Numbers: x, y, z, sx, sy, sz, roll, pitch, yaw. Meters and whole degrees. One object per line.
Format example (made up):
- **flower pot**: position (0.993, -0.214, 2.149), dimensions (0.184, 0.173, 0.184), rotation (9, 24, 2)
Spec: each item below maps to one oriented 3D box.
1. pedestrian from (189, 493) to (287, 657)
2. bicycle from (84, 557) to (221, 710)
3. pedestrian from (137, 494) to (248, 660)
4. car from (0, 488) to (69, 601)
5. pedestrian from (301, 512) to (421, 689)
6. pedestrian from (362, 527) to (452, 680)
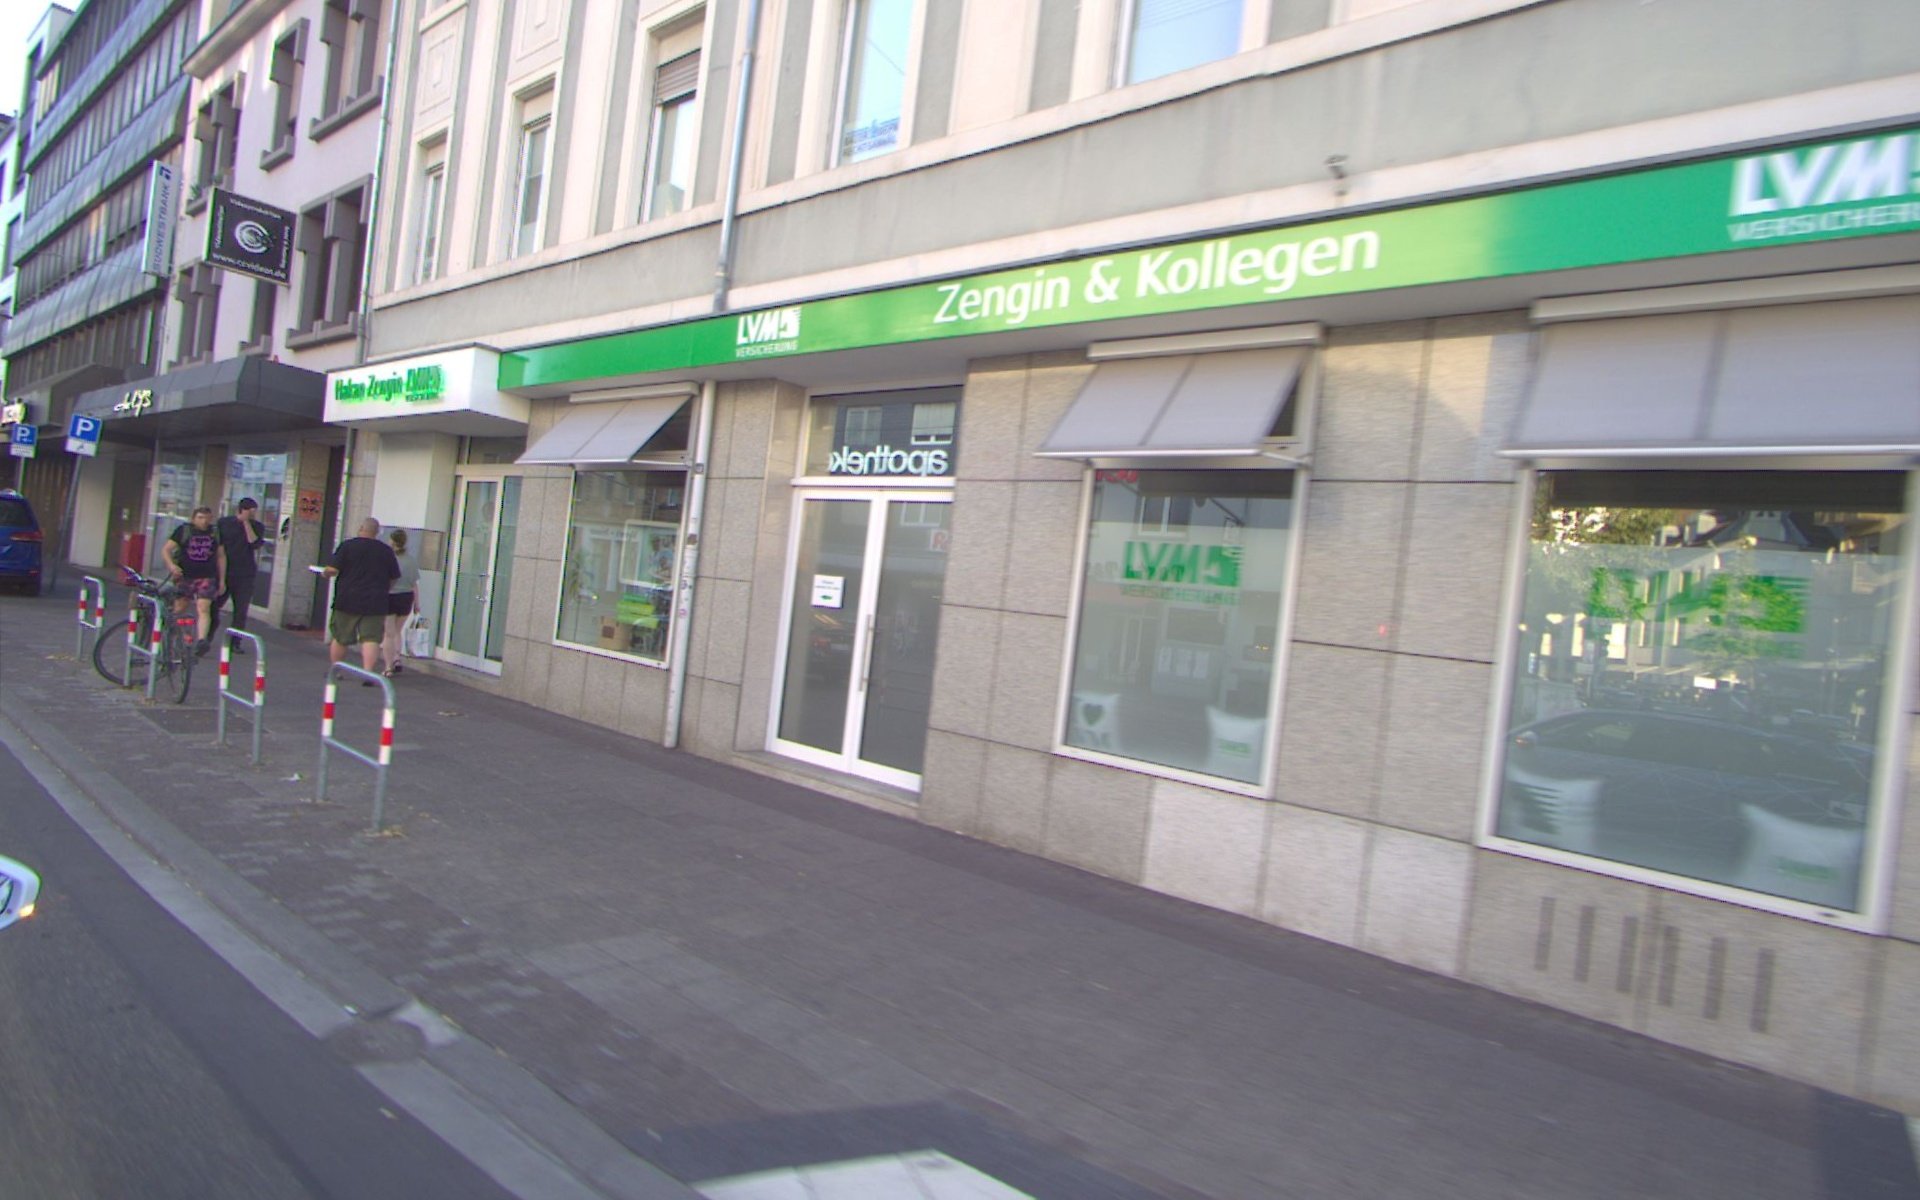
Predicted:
- **pedestrian**: position (-9.096, -0.318, 12.675), dimensions (0.866, 1.952, 0.660), rotation (7, 1, 38)
- **bicycle**: position (-7.082, 0.273, 8.800), dimensions (1.468, 1.161, 0.533), rotation (6, 0, 38)
- **pedestrian**: position (-9.114, -0.269, 11.944), dimensions (0.838, 1.852, 0.737), rotation (7, 1, 38)
- **car**: position (-17.172, -1.097, 17.354), dimensions (4.511, 1.749, 1.990), rotation (6, 1, 40)
- **pedestrian**: position (-6.590, 0.002, 11.059), dimensions (0.915, 1.829, 0.765), rotation (7, 1, 41)
- **pedestrian**: position (-6.607, 0.046, 12.022), dimensions (0.669, 1.741, 0.648), rotation (7, 2, 40)
